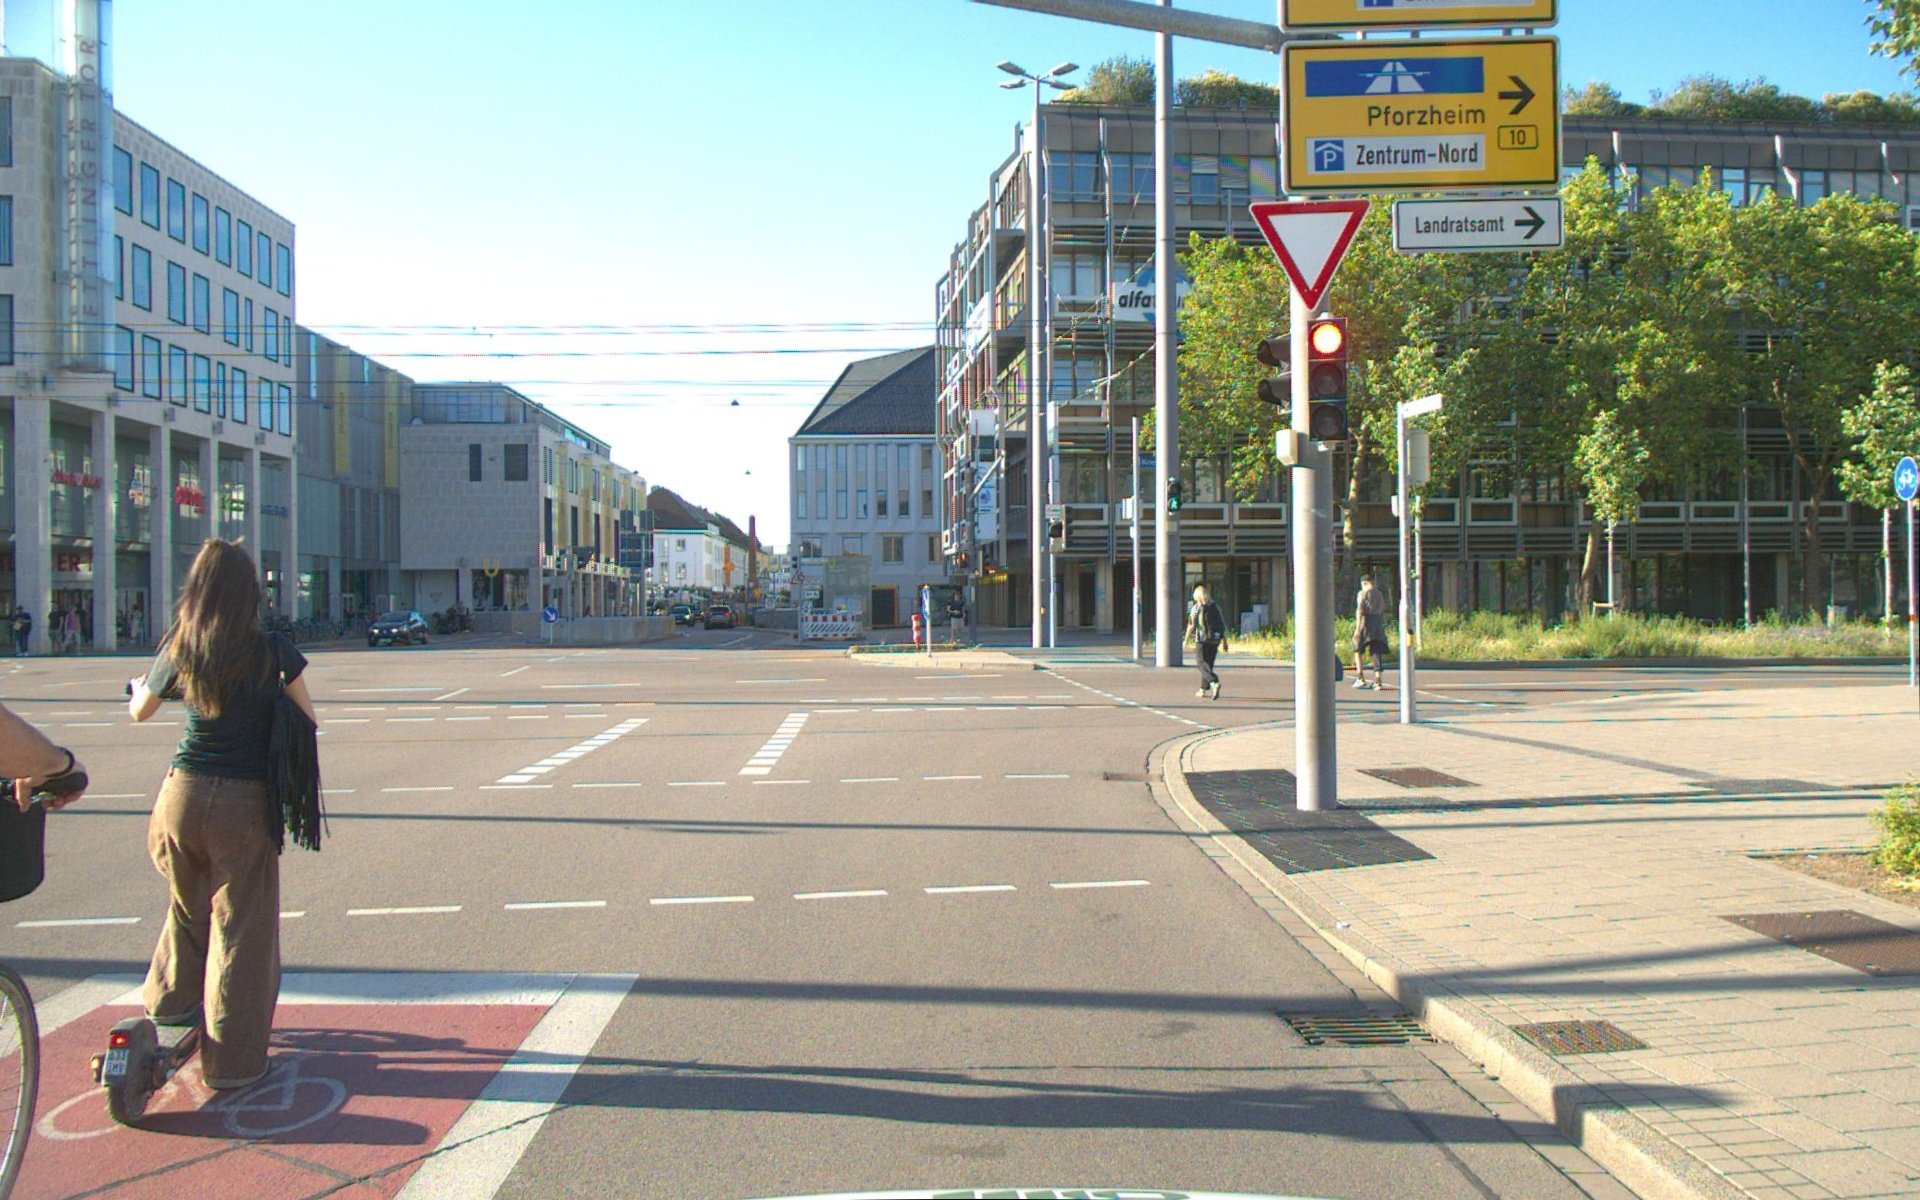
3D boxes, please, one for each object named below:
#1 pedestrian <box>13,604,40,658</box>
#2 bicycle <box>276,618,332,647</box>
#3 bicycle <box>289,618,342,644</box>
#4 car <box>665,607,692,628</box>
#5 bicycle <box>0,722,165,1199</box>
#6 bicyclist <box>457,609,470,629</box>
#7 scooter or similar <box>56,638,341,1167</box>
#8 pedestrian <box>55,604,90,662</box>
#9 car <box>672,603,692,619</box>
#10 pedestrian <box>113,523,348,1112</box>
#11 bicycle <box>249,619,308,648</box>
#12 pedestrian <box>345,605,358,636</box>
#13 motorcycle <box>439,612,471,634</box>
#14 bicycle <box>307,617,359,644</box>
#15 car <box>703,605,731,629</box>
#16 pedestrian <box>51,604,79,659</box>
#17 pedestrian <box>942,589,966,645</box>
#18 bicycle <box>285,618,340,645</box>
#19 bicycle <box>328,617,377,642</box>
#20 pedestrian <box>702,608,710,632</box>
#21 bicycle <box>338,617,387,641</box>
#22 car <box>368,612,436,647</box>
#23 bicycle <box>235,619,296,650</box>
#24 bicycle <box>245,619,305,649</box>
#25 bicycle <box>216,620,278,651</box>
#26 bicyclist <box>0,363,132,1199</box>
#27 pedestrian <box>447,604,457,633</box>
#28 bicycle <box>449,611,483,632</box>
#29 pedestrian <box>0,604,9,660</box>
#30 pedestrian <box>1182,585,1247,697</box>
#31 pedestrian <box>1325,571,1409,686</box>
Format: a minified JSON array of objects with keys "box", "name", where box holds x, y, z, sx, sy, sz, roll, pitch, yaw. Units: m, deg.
[{"box":[-32.866,1.094,58.253,0.787,1.876,0.856,0,0,-29],"name":"pedestrian"},{"box":[-29.608,1.469,74.688,2.260,1.244,0.611,0,0,-3],"name":"bicycle"},{"box":[-30.718,1.469,78.808,2.260,1.244,0.611,0,0,-3],"name":"bicycle"},{"box":[-23.028,1.424,135.276,1.762,1.686,3.996,1,0,-5],"name":"car"},{"box":[-2.082,0.869,2.918,0.475,1.176,1.831,1,0,-1],"name":"bicycle"},{"box":[-28.639,1.104,95.368,0.617,1.103,0.506,1,0,-33],"name":"bicyclist"},{"box":[-2.179,0.786,4.852,0.538,1.316,1.189,1,0,-15],"name":"scooter or similar"},{"box":[-31.733,1.185,59.144,0.868,2.049,0.771,1,-1,-12],"name":"pedestrian"},{"box":[-29.477,1.164,175.597,1.762,1.686,3.996,1,0,-5],"name":"car"},{"box":[-2.188,0.618,5.019,0.540,1.661,0.569,1,-1,-16],"name":"pedestrian"},{"box":[-29.508,1.457,71.623,2.260,1.244,0.611,0,0,-3],"name":"bicycle"},{"box":[-34.146,1.158,92.773,0.544,1.709,0.606,1,0,-11],"name":"pedestrian"},{"box":[-29.766,1.355,97.466,1.775,1.228,0.509,1,0,-16],"name":"motorcycle"},{"box":[-30.338,1.481,80.041,2.260,1.244,0.611,0,0,-3],"name":"bicycle"},{"box":[-15.830,1.089,107.936,1.705,1.558,3.849,1,0,-8],"name":"car"},{"box":[-31.175,1.086,57.593,0.788,1.876,0.854,0,0,-33],"name":"pedestrian"},{"box":[-0.206,0.596,57.288,0.772,1.923,0.644,1,-1,-1],"name":"pedestrian"},{"box":[-30.069,1.471,76.838,2.260,1.244,0.611,0,0,-3],"name":"bicycle"},{"box":[-30.932,1.490,84.257,2.260,1.244,0.611,0,0,-3],"name":"bicycle"},{"box":[-17.915,1.394,116.799,0.511,1.709,0.582,1,0,-8],"name":"pedestrian"},{"box":[-30.820,1.497,85.328,2.260,1.244,0.611,0,0,-3],"name":"bicycle"},{"box":[-23.382,1.227,69.475,1.597,1.365,3.998,-3,0,-3],"name":"car"},{"box":[-29.130,1.453,69.392,2.260,1.244,0.611,0,0,-3],"name":"bicycle"},{"box":[-29.294,1.457,70.746,2.260,1.244,0.611,0,0,-3],"name":"bicycle"},{"box":[-29.337,1.444,68.106,2.260,1.244,0.611,0,0,-3],"name":"bicycle"},{"box":[-1.979,0.465,2.844,0.647,1.750,0.865,1,-1,-1],"name":"bicyclist"},{"box":[-30.103,1.101,98.068,0.512,1.709,0.581,1,0,-14],"name":"pedestrian"},{"box":[-28.504,1.241,95.453,1.789,1.228,0.505,1,0,-35],"name":"bicycle"},{"box":[-33.175,1.085,56.924,0.706,1.918,0.780,1,-1,-28],"name":"pedestrian"},{"box":[3.524,0.556,22.938,0.772,1.518,0.644,1,-1,-1],"name":"pedestrian"},{"box":[6.142,0.423,24.994,0.864,1.694,0.960,1,-1,-16],"name":"pedestrian"}]
